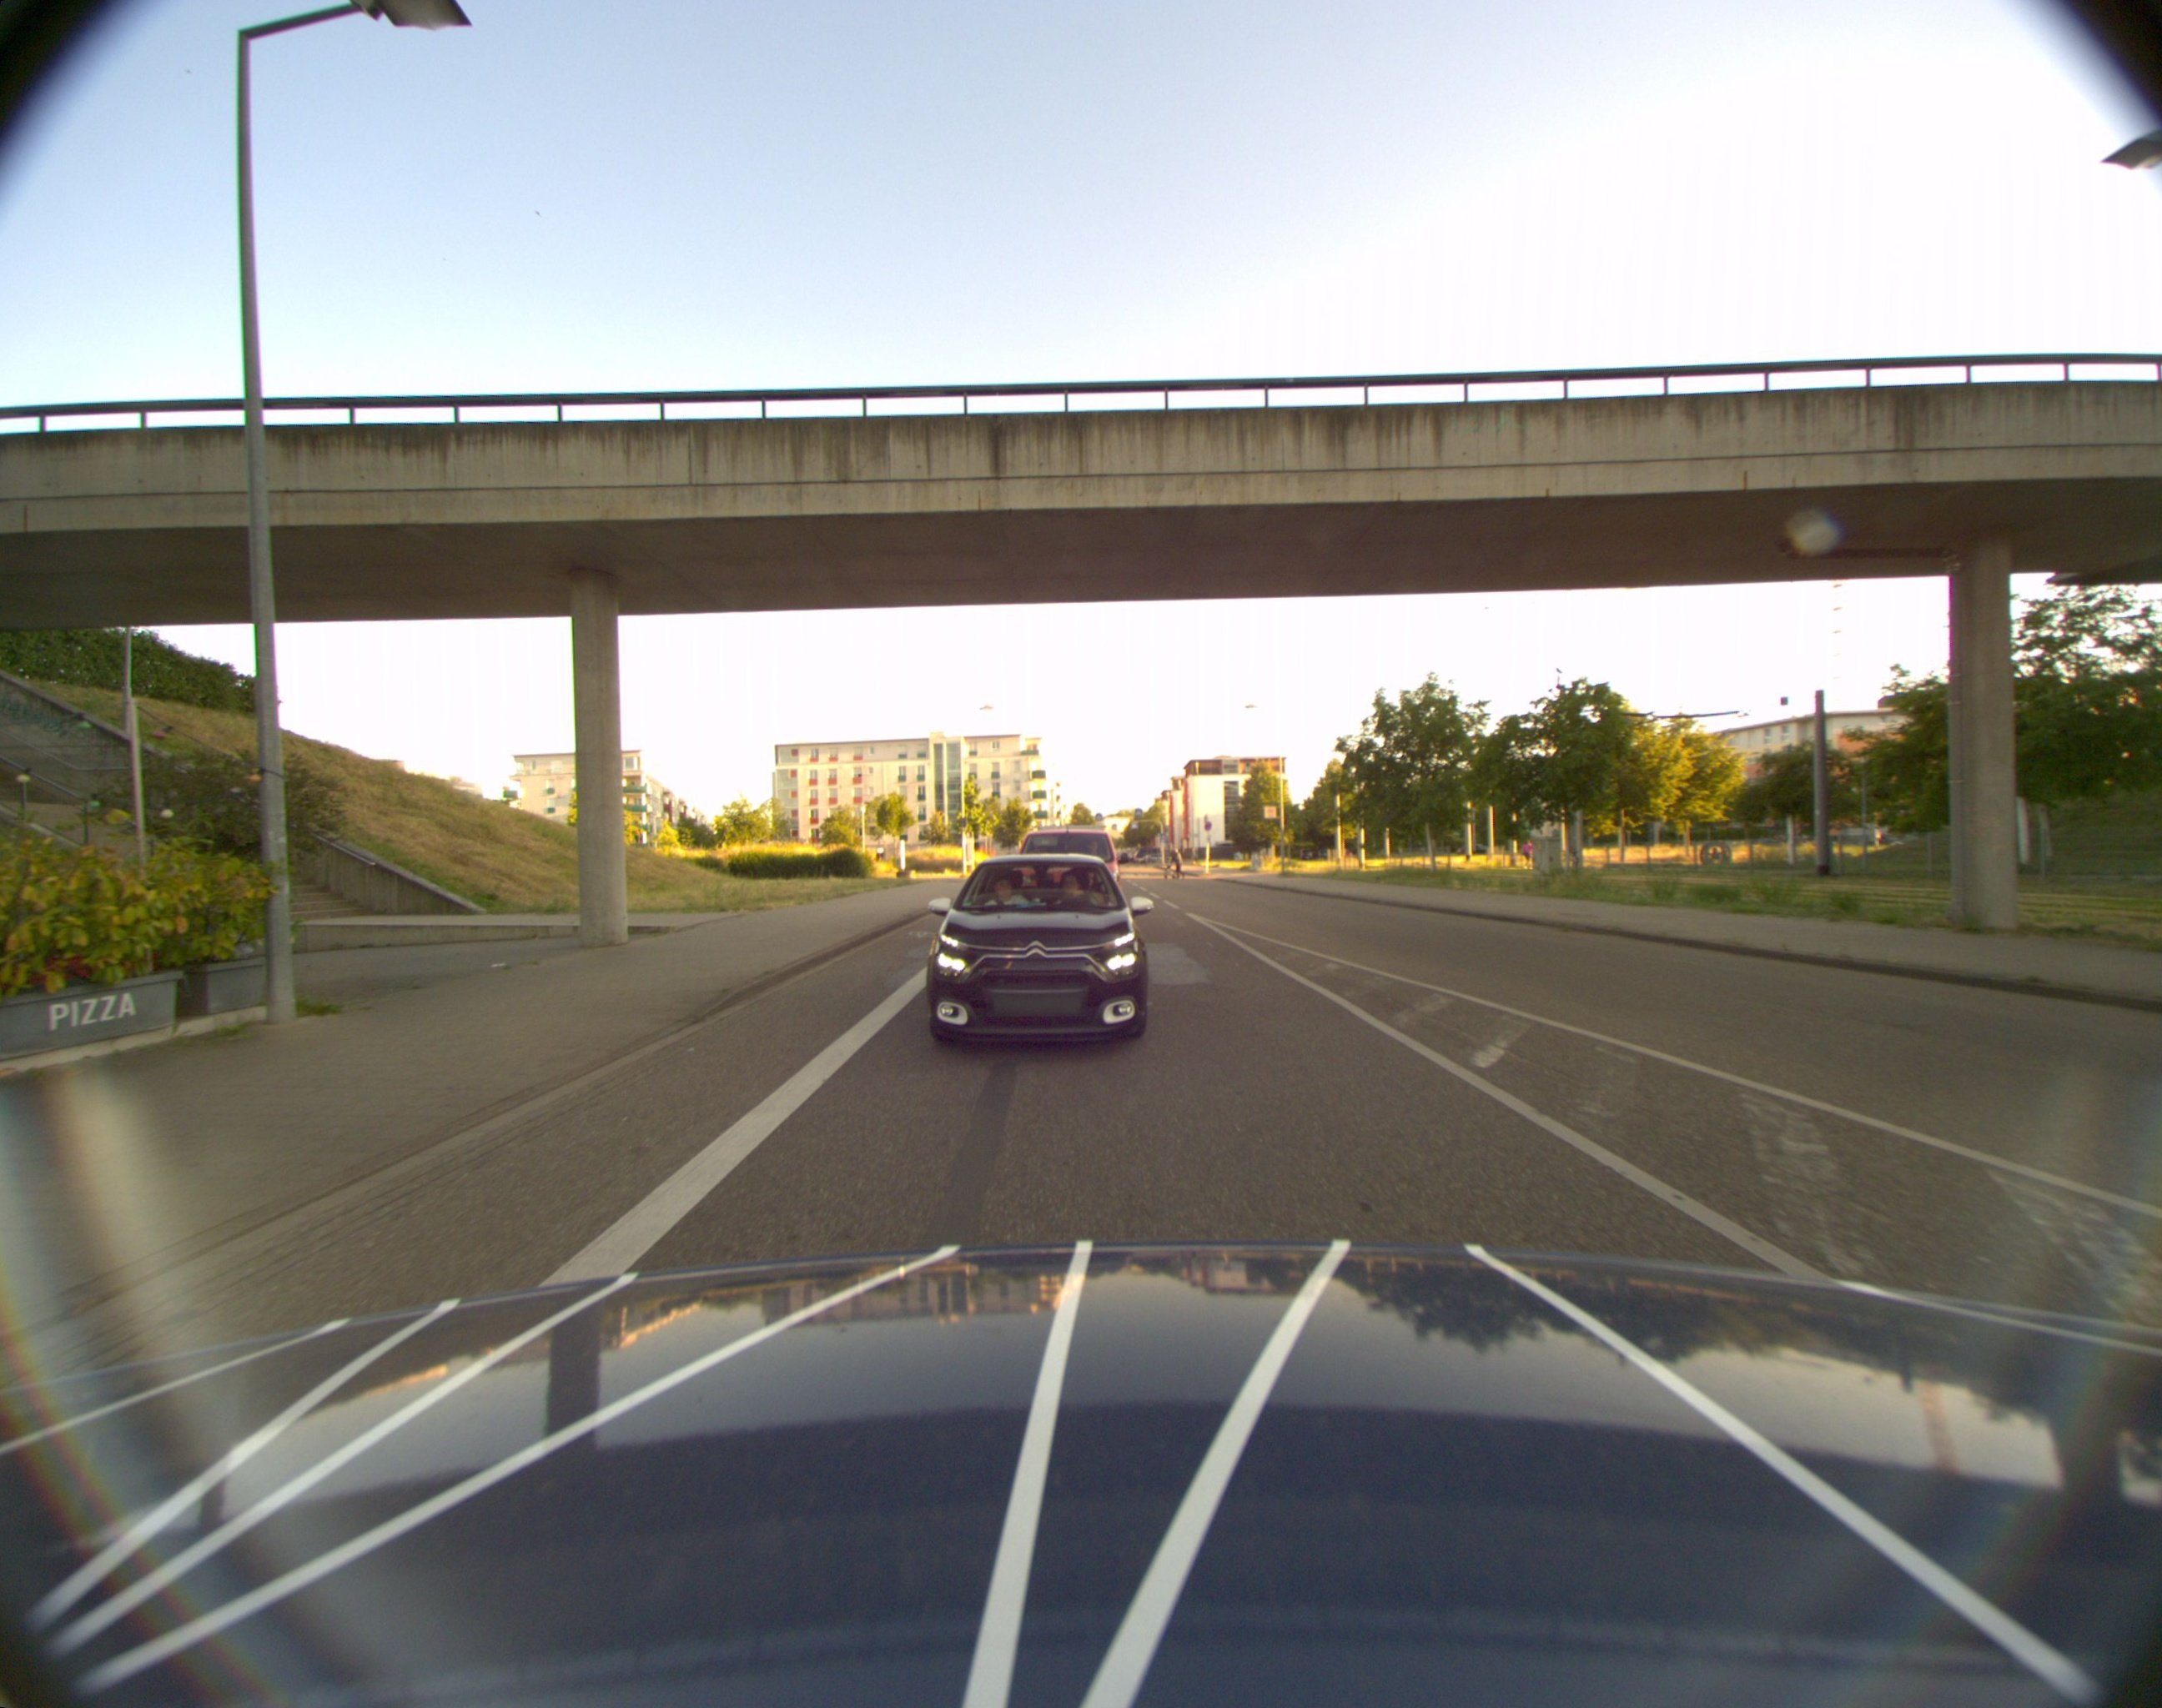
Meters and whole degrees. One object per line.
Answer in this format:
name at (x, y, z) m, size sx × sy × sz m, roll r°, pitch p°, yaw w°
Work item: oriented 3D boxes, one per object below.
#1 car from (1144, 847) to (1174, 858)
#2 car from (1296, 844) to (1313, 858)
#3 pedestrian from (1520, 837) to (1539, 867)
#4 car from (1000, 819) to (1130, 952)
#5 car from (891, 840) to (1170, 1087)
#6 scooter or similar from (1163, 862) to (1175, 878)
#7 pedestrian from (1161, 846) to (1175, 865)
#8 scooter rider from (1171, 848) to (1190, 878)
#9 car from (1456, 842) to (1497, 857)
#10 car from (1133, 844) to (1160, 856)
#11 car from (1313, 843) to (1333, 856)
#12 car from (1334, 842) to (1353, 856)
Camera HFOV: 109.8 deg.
car at (11.782, -0.219, 115.367) m, size 4.387 × 1.551 × 1.839 m, roll -2°, pitch 1°, yaw 2°
car at (28.952, -0.349, 98.556) m, size 1.869 × 1.711 × 3.848 m, roll -2°, pitch 0°, yaw 12°
pedestrian at (24.422, -0.111, 41.408) m, size 0.779 × 1.602 × 0.417 m, roll -2°, pitch 1°, yaw 12°
car at (-0.264, 0.482, 14.173) m, size 1.931 × 1.979 × 4.821 m, roll -3°, pitch 0°, yaw 0°
car at (-0.368, 0.701, 6.956) m, size 1.760 × 1.543 × 4.071 m, roll -2°, pitch 0°, yaw -1°
scooter or similar at (4.833, 0.874, 41.578) m, size 0.552 × 0.890 × 0.723 m, roll 0°, pitch 2°, yaw 13°
pedestrian at (9.578, 0.129, 83.470) m, size 1.088 × 2.002 × 1.141 m, roll -1°, pitch 2°, yaw 29°
scooter rider at (5.417, 0.495, 41.417) m, size 0.897 × 1.568 × 0.712 m, roll -2°, pitch 1°, yaw 13°
car at (46.394, -0.543, 89.139) m, size 3.992 × 1.554 × 2.002 m, roll -2°, pitch 1°, yaw 18°
car at (12.543, -0.750, 145.543) m, size 4.745 × 2.002 × 1.999 m, roll -2°, pitch 1°, yaw -2°
car at (31.275, -0.590, 98.178) m, size 1.869 × 1.711 × 3.847 m, roll -2°, pitch 0°, yaw 10°
car at (33.785, -0.669, 97.898) m, size 1.869 × 1.711 × 3.848 m, roll -2°, pitch 0°, yaw 12°
